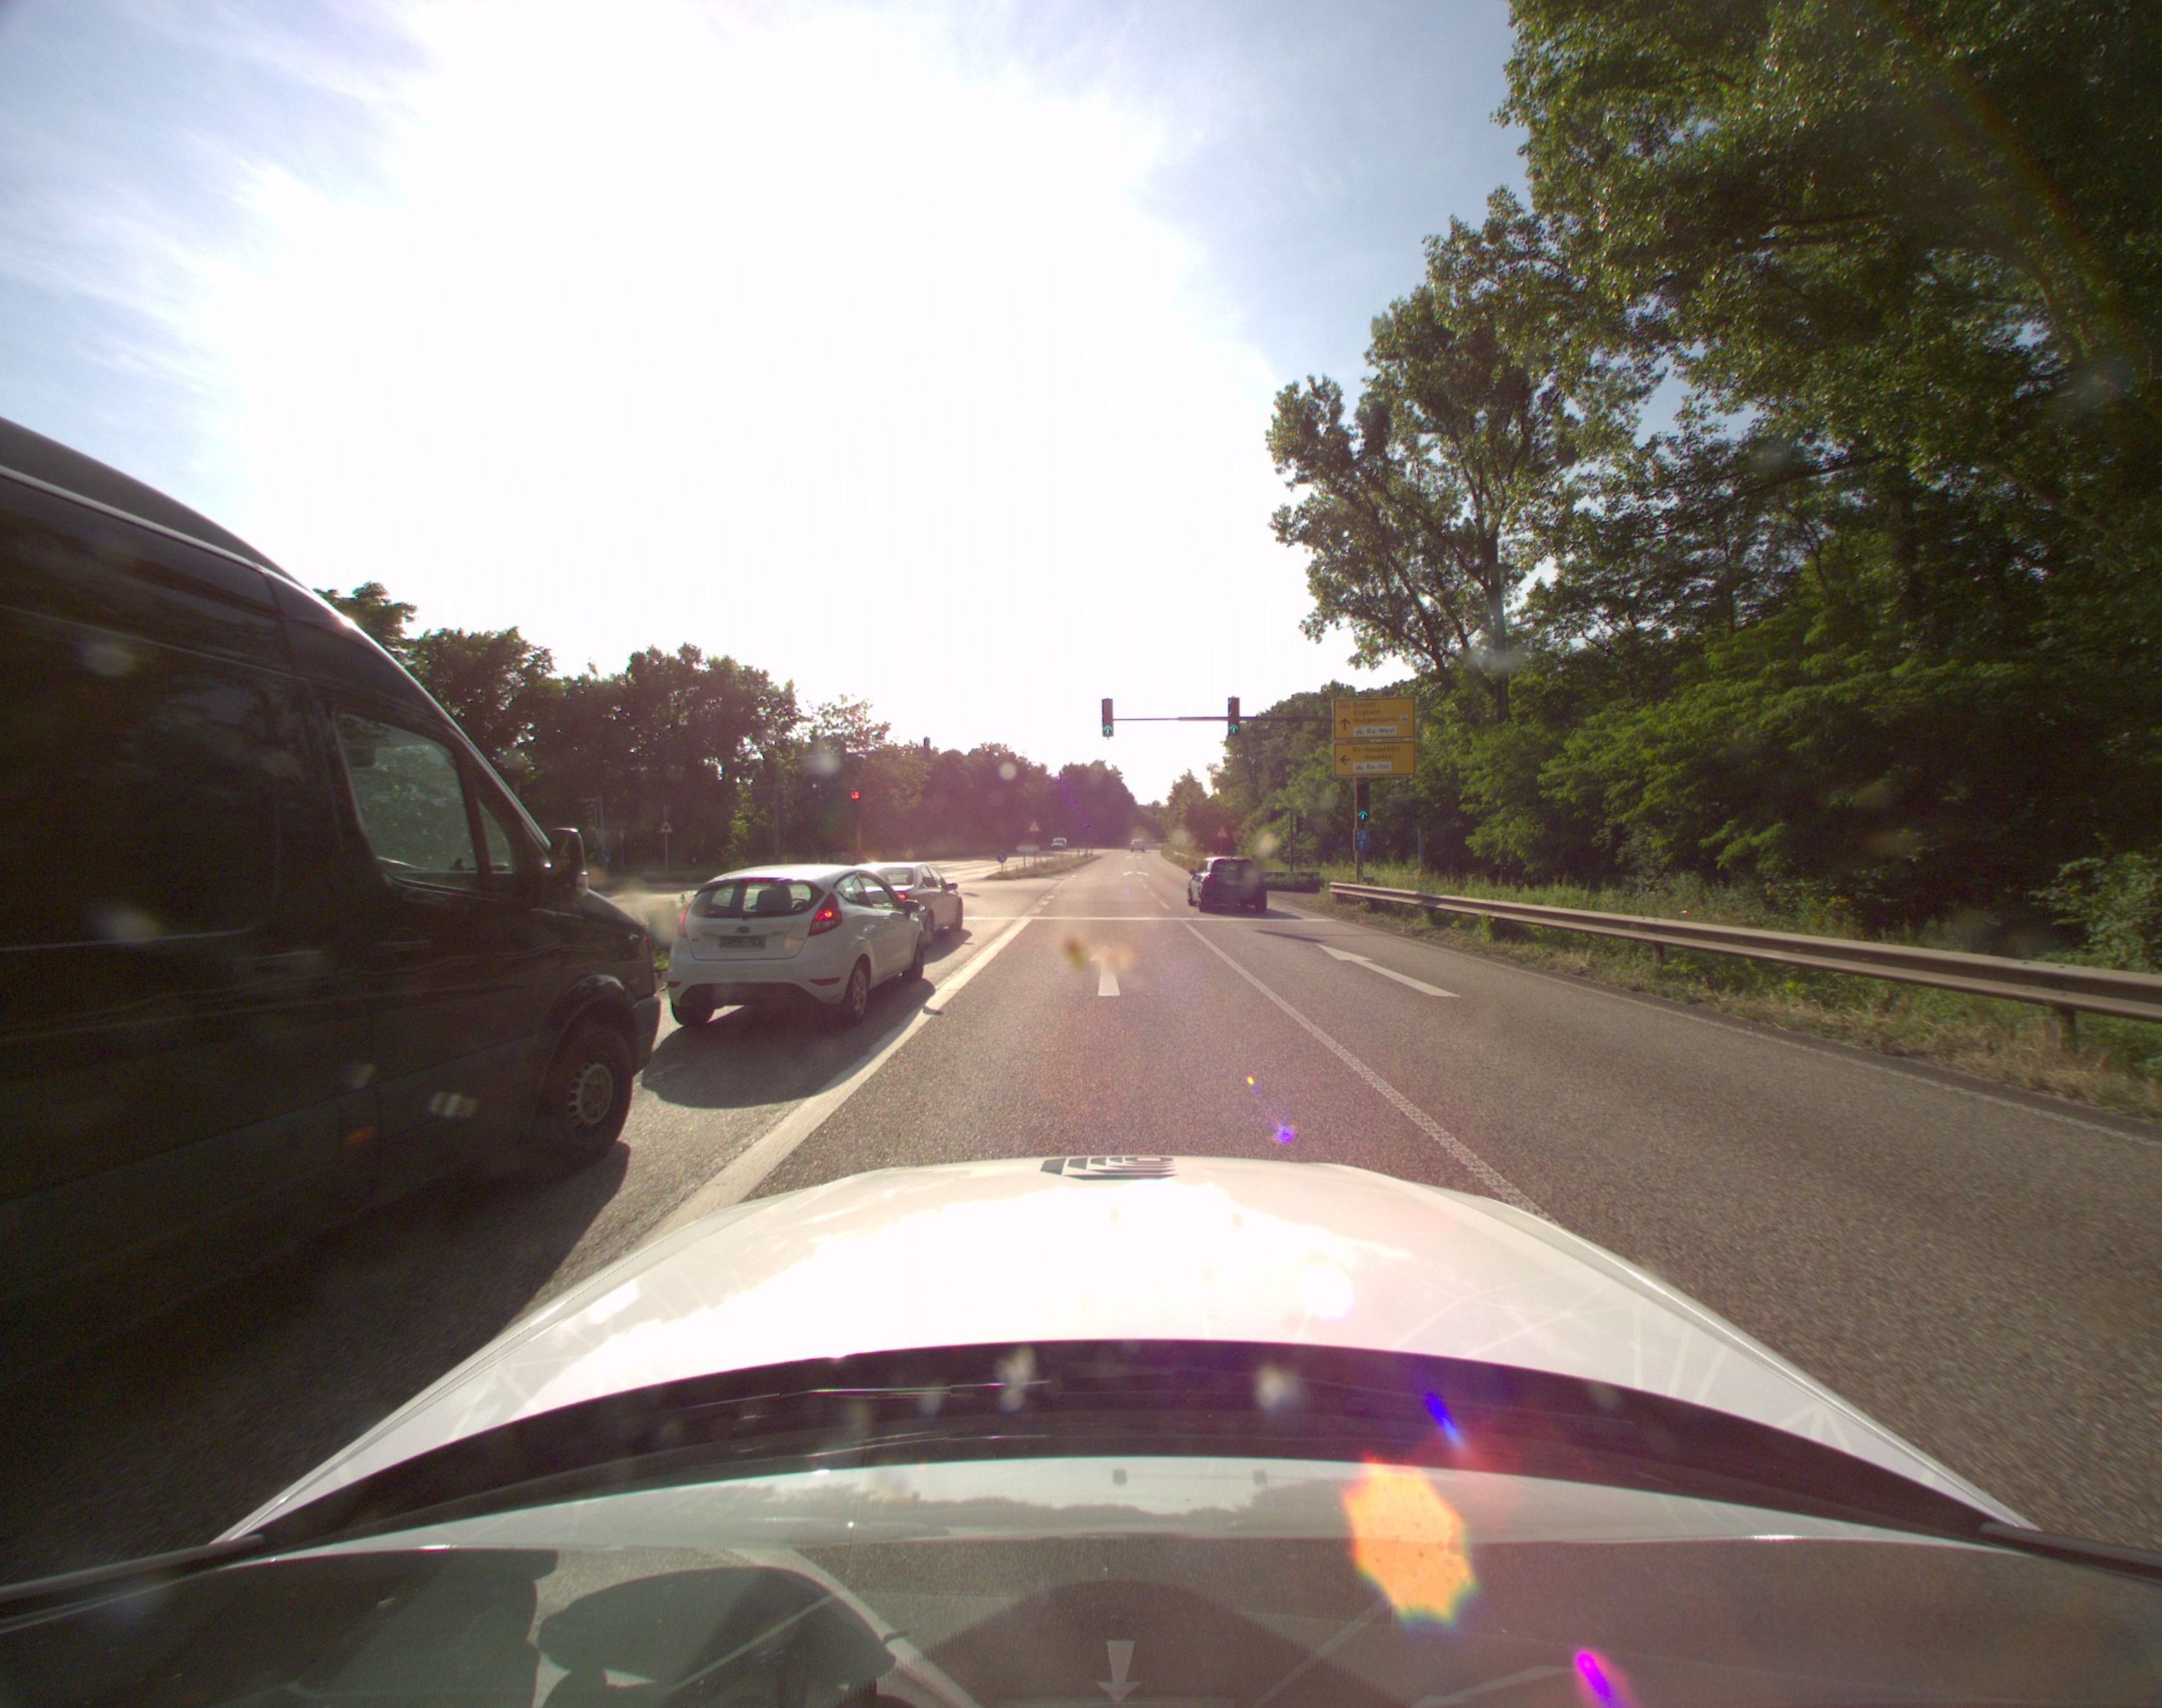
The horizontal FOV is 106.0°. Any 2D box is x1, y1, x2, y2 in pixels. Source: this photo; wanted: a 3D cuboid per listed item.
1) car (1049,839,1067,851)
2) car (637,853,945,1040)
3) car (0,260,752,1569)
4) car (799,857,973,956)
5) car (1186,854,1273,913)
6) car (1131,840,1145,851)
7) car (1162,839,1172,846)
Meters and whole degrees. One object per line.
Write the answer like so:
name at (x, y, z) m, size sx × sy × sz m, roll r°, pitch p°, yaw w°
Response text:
car at (-3.421, -1.304, 119.828) m, size 1.840 × 1.786 × 4.681 m, roll 1°, pitch 0°, yaw 8°
car at (-2.725, 0.759, 8.729) m, size 1.639 × 1.489 × 4.106 m, roll -1°, pitch 0°, yaw 3°
car at (-3.496, 0.141, 1.715) m, size 2.199 × 2.888 × 7.020 m, roll -1°, pitch 0°, yaw 5°
car at (-3.241, 0.803, 14.602) m, size 1.728 × 1.421 × 4.805 m, roll -1°, pitch 0°, yaw 3°
car at (3.978, 0.749, 22.414) m, size 1.812 × 1.468 × 3.875 m, roll -1°, pitch 0°, yaw 2°
car at (7.843, -1.127, 111.389) m, size 1.752 × 1.380 × 3.978 m, roll 1°, pitch 0°, yaw 6°
car at (20.054, -2.706, 189.884) m, size 1.738 × 1.537 × 3.926 m, roll 1°, pitch 0°, yaw 1°
